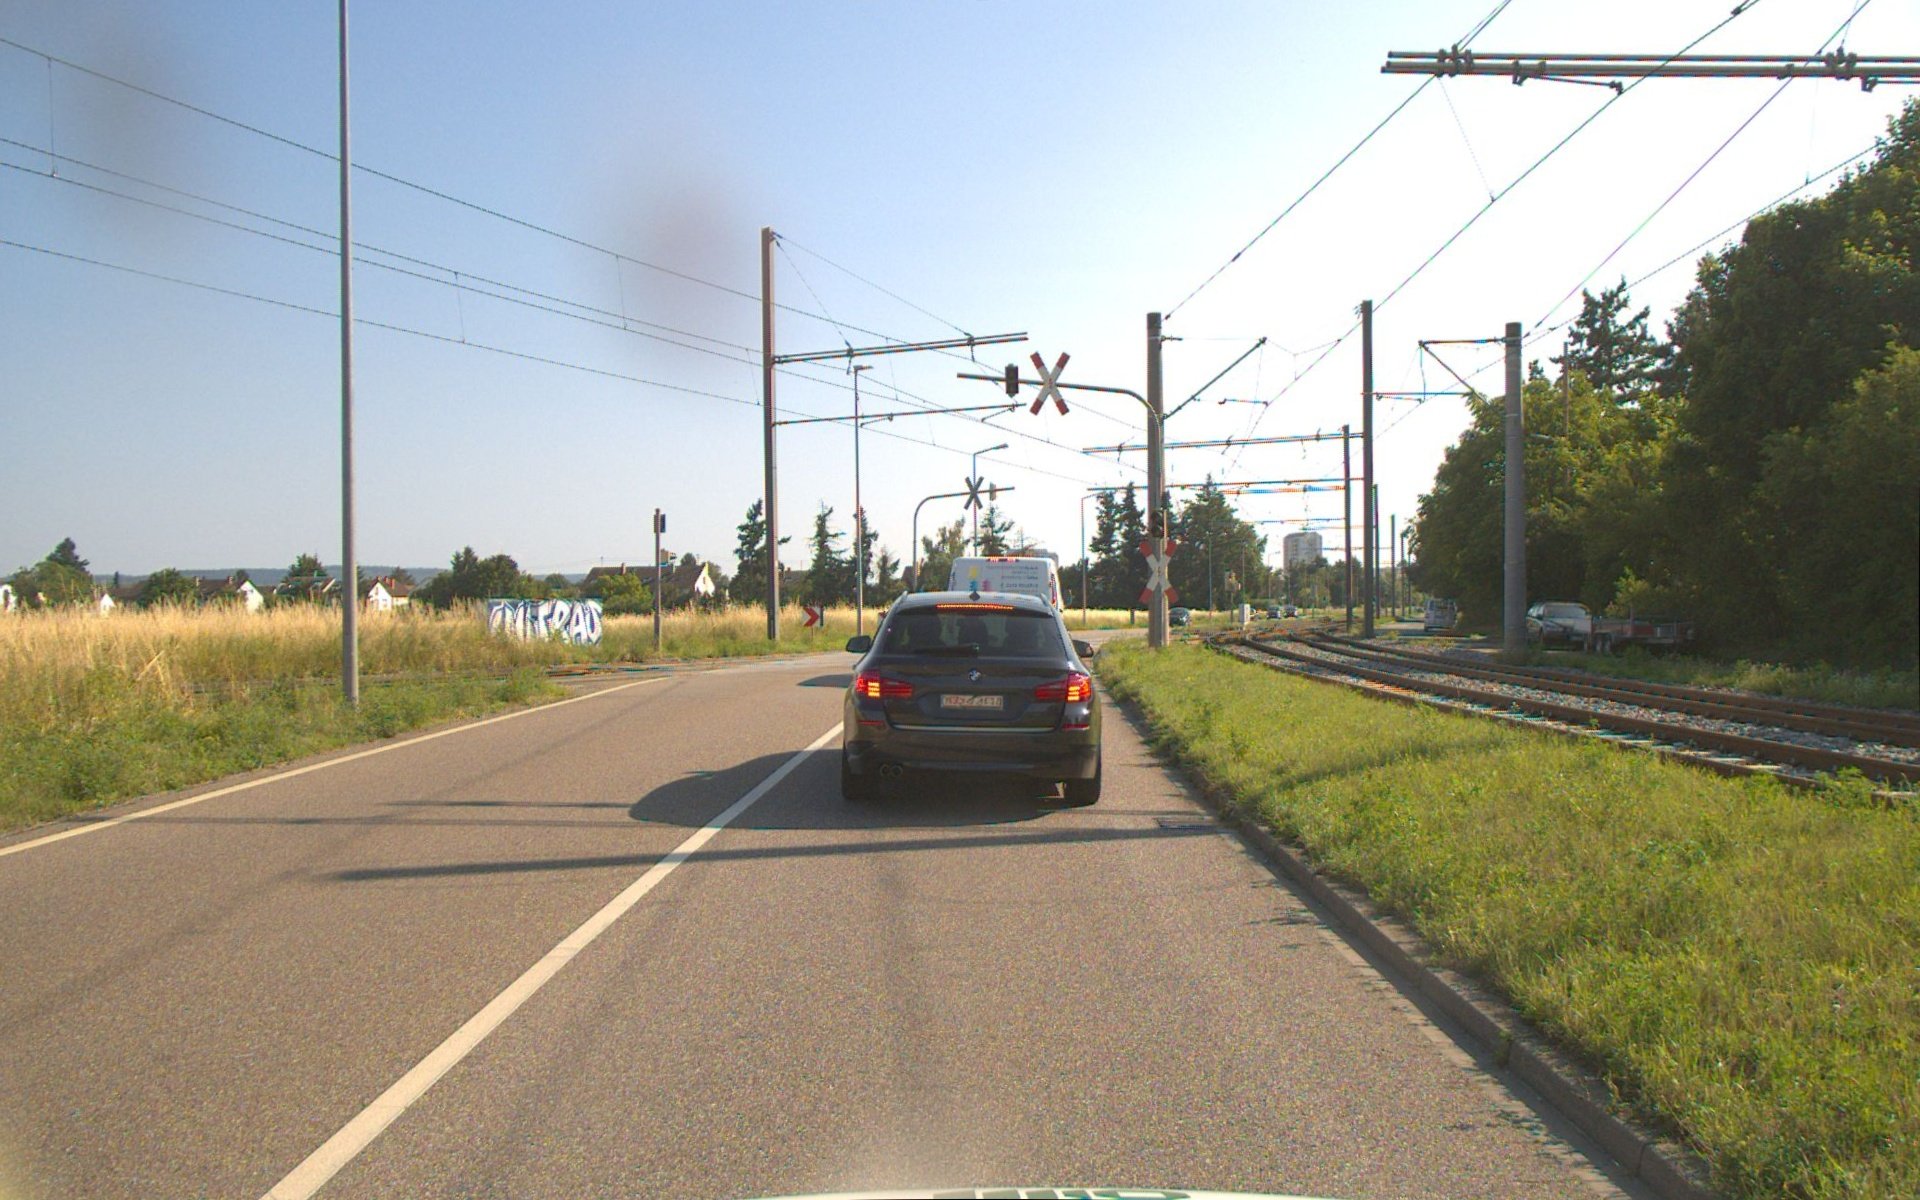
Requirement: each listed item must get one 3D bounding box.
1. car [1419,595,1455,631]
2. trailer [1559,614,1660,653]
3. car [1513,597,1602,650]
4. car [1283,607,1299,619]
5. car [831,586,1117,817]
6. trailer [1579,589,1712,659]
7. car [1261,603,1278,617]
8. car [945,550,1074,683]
[{"bbox_3d":[28.386,0.761,98.528,1.951,2.039,5.070,2,0,15],"label":"car"},{"bbox_3d":[17.956,0.913,45.877,1.694,0.956,3.731,3,0,7],"label":"trailer"},{"bbox_3d":[18.241,0.668,50.648,1.662,1.482,4.885,2,0,9],"label":"car"},{"bbox_3d":[44.550,1.781,222.604,1.676,1.576,3.930,0,0,18],"label":"car"},{"bbox_3d":[0.082,0.638,13.008,1.831,1.478,4.743,0,0,0],"label":"car"},{"bbox_3d":[17.265,0.583,41.887,1.983,1.624,4.262,2,0,7],"label":"trailer"},{"bbox_3d":[38.137,1.261,203.841,1.670,1.694,4.593,0,0,16],"label":"car"},{"bbox_3d":[0.935,0.249,27.913,1.818,2.023,5.111,0,0,6],"label":"car"}]
